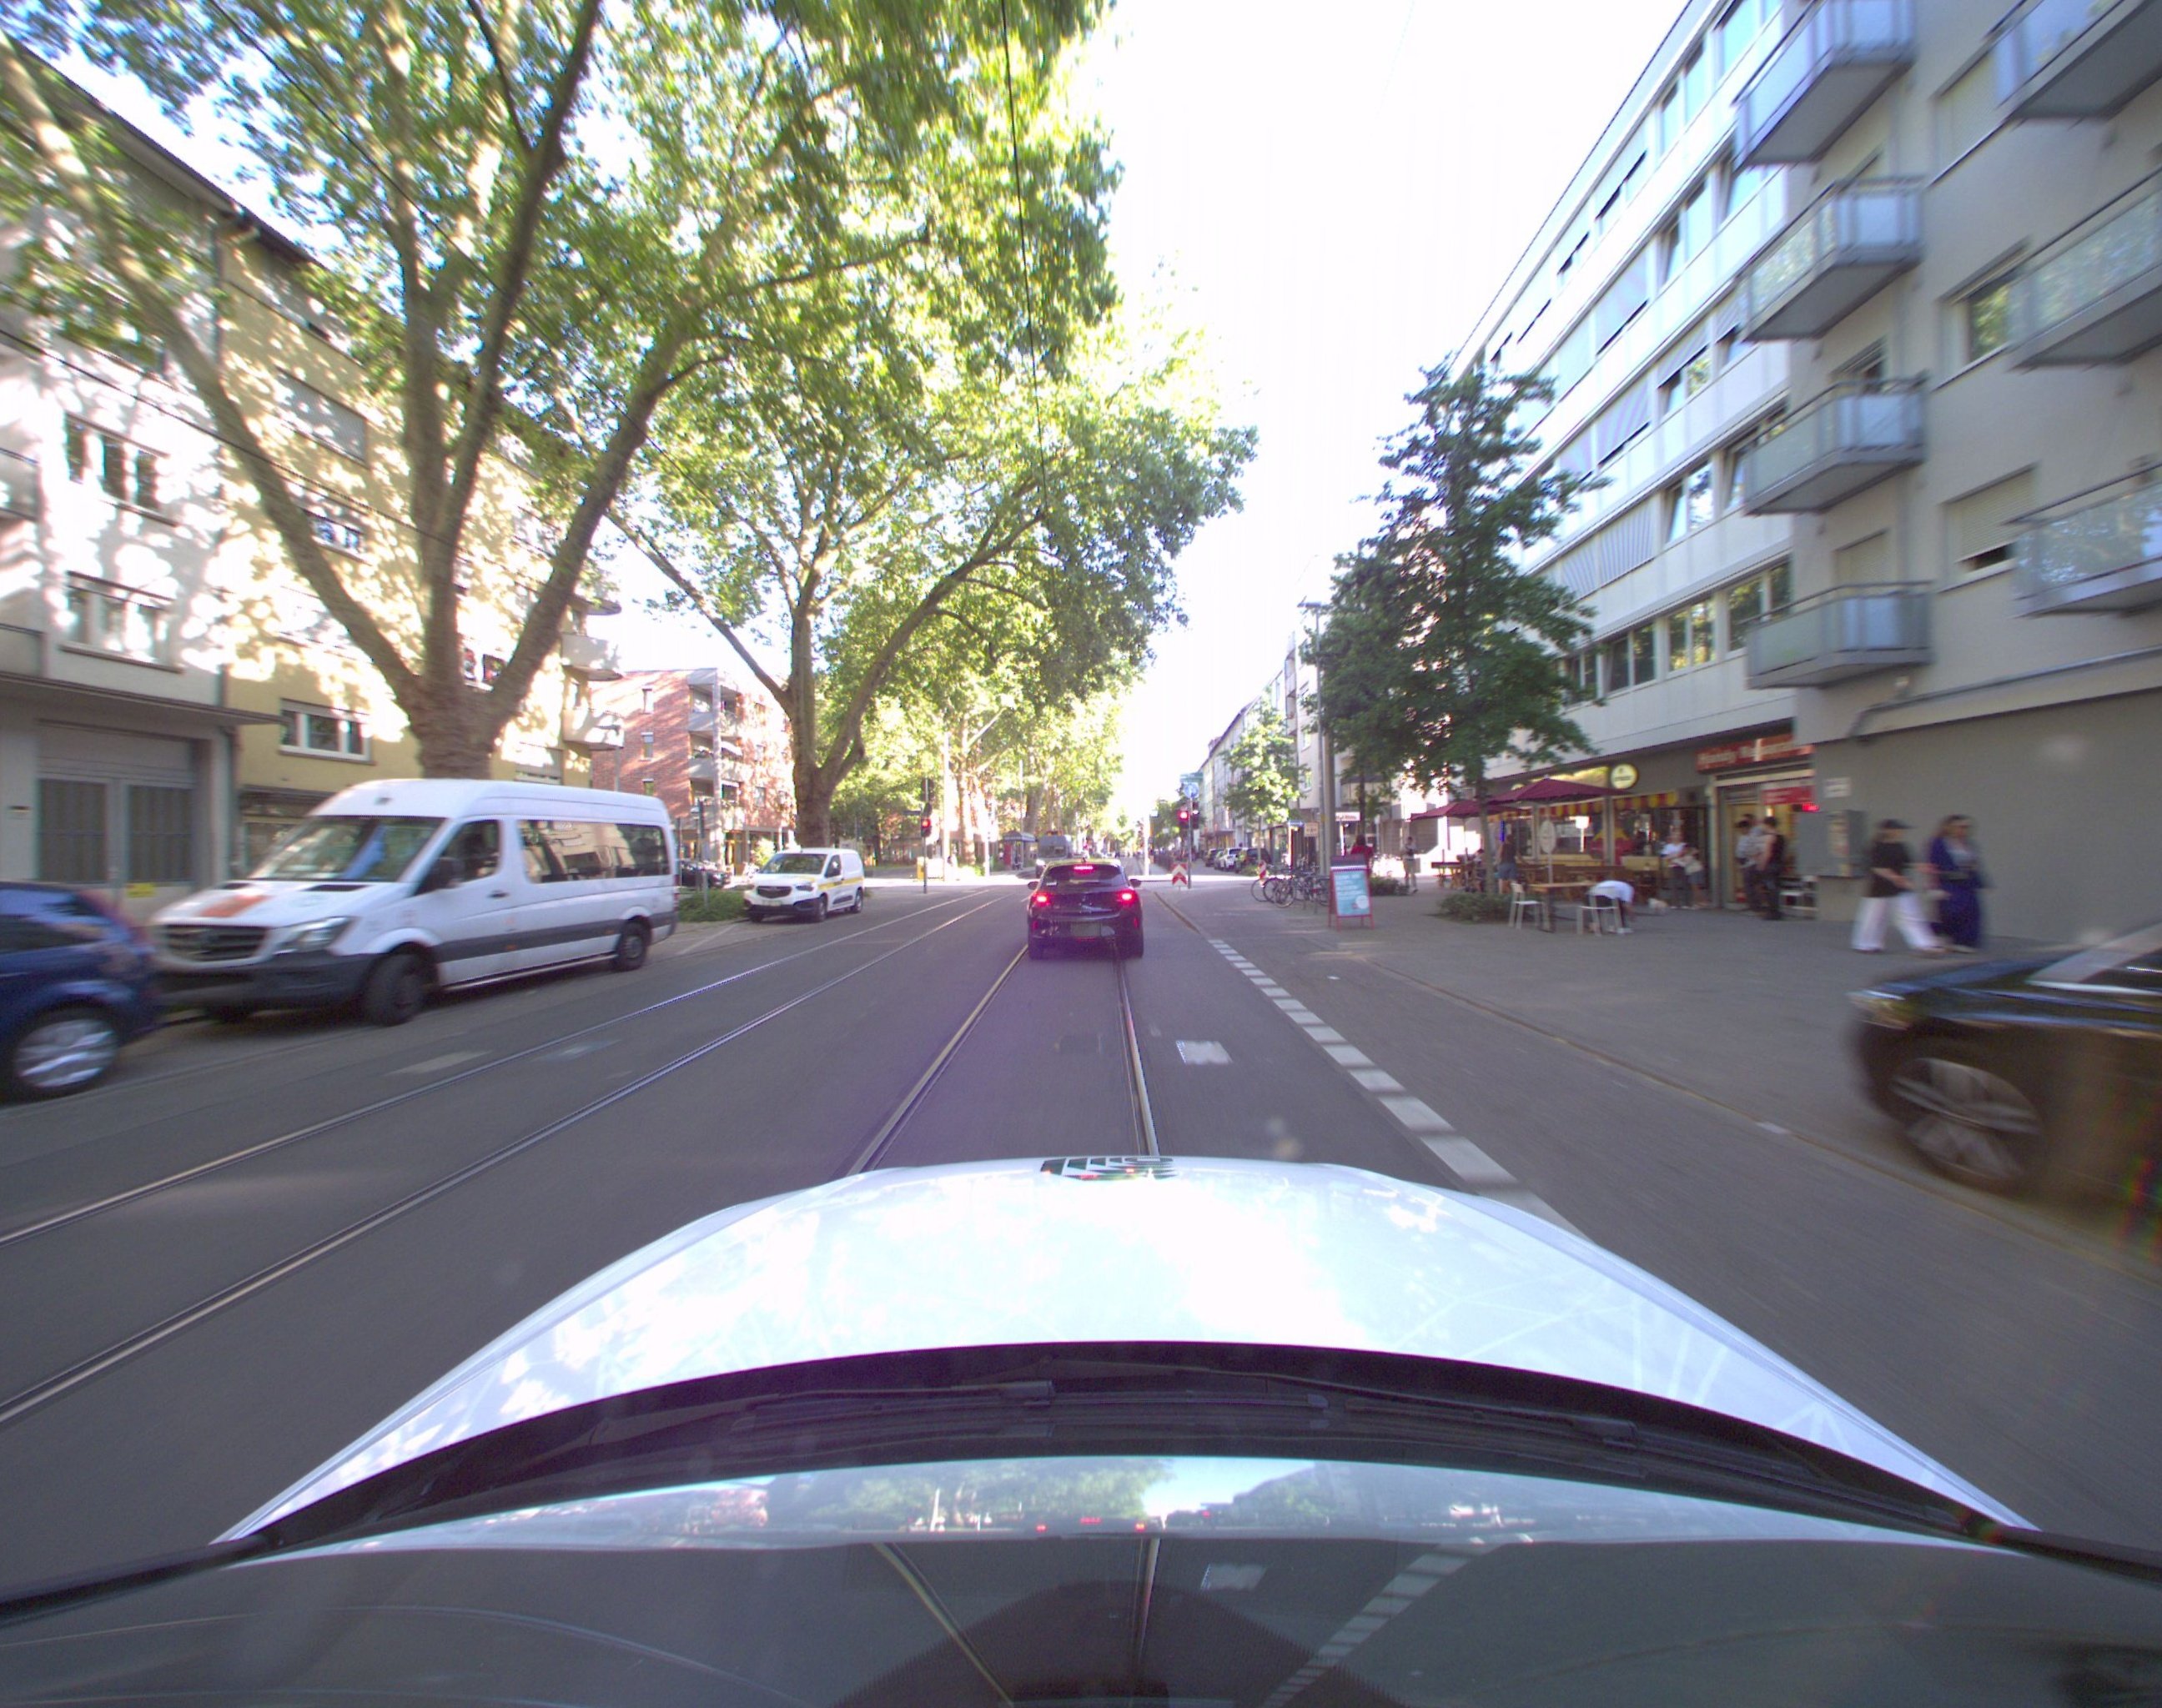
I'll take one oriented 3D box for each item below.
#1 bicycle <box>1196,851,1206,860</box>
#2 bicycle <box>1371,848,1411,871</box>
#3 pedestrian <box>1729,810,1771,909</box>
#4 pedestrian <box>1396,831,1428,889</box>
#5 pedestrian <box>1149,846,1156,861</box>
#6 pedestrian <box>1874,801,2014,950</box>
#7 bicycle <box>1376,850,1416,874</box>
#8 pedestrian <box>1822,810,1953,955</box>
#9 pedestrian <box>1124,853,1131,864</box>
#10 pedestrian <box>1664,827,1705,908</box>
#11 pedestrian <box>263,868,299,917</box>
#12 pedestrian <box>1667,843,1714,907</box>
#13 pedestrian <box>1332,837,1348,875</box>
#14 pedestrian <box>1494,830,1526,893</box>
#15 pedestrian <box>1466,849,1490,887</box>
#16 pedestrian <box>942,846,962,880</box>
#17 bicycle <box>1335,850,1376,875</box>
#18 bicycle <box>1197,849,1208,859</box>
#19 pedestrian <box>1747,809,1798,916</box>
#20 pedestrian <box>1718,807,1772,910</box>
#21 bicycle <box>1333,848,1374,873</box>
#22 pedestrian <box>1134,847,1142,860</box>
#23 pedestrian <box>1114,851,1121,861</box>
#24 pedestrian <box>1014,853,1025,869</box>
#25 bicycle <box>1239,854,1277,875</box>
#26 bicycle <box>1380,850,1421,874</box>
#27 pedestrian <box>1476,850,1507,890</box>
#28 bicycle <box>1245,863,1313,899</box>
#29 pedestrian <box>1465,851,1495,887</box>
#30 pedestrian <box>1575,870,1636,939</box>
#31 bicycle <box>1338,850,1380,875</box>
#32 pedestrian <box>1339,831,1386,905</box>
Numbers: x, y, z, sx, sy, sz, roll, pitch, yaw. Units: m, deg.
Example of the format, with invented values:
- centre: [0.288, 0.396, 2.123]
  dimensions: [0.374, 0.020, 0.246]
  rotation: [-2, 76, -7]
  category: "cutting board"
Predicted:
- centre: [14.272, 0.178, 96.945]
  dimensions: [0.602, 1.136, 2.428]
  rotation: [0, 0, -7]
  category: "bicycle"
- centre: [16.248, 0.287, 42.671]
  dimensions: [1.908, 1.208, 0.511]
  rotation: [0, -1, -1]
  category: "bicycle"
- centre: [12.421, 0.100, 15.120]
  dimensions: [0.635, 1.805, 0.520]
  rotation: [0, -1, -44]
  category: "pedestrian"
- centre: [10.348, 0.180, 25.472]
  dimensions: [0.588, 1.784, 0.996]
  rotation: [0, -1, 2]
  category: "pedestrian"
- centre: [7.741, -0.073, 88.295]
  dimensions: [0.628, 1.576, 0.871]
  rotation: [1, 0, 3]
  category: "pedestrian"
- centre: [10.362, 0.253, 9.816]
  dimensions: [0.594, 1.678, 0.935]
  rotation: [-3, -1, 1]
  category: "pedestrian"
- centre: [16.242, 0.426, 42.005]
  dimensions: [1.908, 1.207, 0.511]
  rotation: [0, -1, -1]
  category: "bicycle"
- centre: [9.674, 0.325, 9.799]
  dimensions: [0.639, 1.637, 0.870]
  rotation: [-3, 0, 1]
  category: "pedestrian"
- centre: [8.137, 0.774, 141.871]
  dimensions: [1.161, 1.748, 0.957]
  rotation: [0, -1, -2]
  category: "pedestrian"
- centre: [12.343, 0.265, 16.659]
  dimensions: [0.510, 1.628, 0.513]
  rotation: [0, -1, -35]
  category: "pedestrian"
- centre: [-18.448, 0.888, 18.785]
  dimensions: [0.419, 1.106, 0.437]
  rotation: [0, -1, -7]
  category: "pedestrian"
- centre: [12.402, 0.413, 16.570]
  dimensions: [0.511, 1.276, 0.620]
  rotation: [0, -1, -34]
  category: "pedestrian"
- centre: [10.839, 0.101, 34.102]
  dimensions: [0.548, 1.562, 0.646]
  rotation: [0, -1, 7]
  category: "pedestrian"
- centre: [11.521, 0.194, 21.881]
  dimensions: [0.671, 1.659, 0.819]
  rotation: [-1, -1, 22]
  category: "pedestrian"
- centre: [13.677, 0.468, 28.078]
  dimensions: [0.533, 1.287, 0.716]
  rotation: [0, -1, 5]
  category: "pedestrian"
- centre: [-7.084, 0.494, 44.888]
  dimensions: [0.921, 1.835, 0.920]
  rotation: [0, 2, -1]
  category: "pedestrian"
- centre: [14.120, 0.430, 41.867]
  dimensions: [1.908, 1.207, 0.511]
  rotation: [-2, 0, -1]
  category: "bicycle"
- centre: [15.072, 0.019, 100.834]
  dimensions: [0.610, 1.136, 2.914]
  rotation: [0, 0, -7]
  category: "bicycle"
- centre: [11.818, 0.148, 13.930]
  dimensions: [0.430, 1.796, 0.489]
  rotation: [0, -1, 2]
  category: "pedestrian"
- centre: [12.951, 0.085, 15.906]
  dimensions: [0.502, 1.954, 0.795]
  rotation: [-1, -1, 13]
  category: "pedestrian"
- centre: [14.196, 0.326, 42.420]
  dimensions: [1.908, 1.207, 0.511]
  rotation: [-2, 0, -1]
  category: "bicycle"
- centre: [7.450, -0.057, 107.203]
  dimensions: [0.742, 1.709, 0.768]
  rotation: [-1, -1, 38]
  category: "pedestrian"
- centre: [6.273, 0.302, 141.635]
  dimensions: [1.161, 1.748, 0.957]
  rotation: [0, -1, -2]
  category: "pedestrian"
- centre: [-4.760, 0.543, 62.852]
  dimensions: [0.703, 1.168, 0.659]
  rotation: [-2, -1, 0]
  category: "pedestrian"
- centre: [10.331, 0.627, 47.611]
  dimensions: [2.112, 1.187, 0.683]
  rotation: [0, -1, 11]
  category: "bicycle"
- centre: [16.246, 0.407, 41.395]
  dimensions: [1.908, 1.207, 0.511]
  rotation: [-1, 1, -1]
  category: "bicycle"
- centre: [12.157, 0.465, 24.110]
  dimensions: [0.656, 1.175, 0.522]
  rotation: [0, -1, 1]
  category: "pedestrian"
- centre: [5.605, 0.752, 23.122]
  dimensions: [1.809, 0.994, 0.481]
  rotation: [0, -1, 0]
  category: "bicycle"
- centre: [12.235, 0.456, 24.978]
  dimensions: [0.639, 1.079, 0.522]
  rotation: [0, -1, 1]
  category: "pedestrian"
- centre: [8.352, 0.776, 12.964]
  dimensions: [0.653, 1.027, 1.008]
  rotation: [-1, -1, 42]
  category: "pedestrian"
- centre: [14.110, 0.420, 41.333]
  dimensions: [1.908, 1.207, 0.511]
  rotation: [-2, 1, -1]
  category: "bicycle"
- centre: [6.853, 0.332, 19.797]
  dimensions: [0.867, 1.758, 1.054]
  rotation: [-1, -1, 30]
  category: "pedestrian"
